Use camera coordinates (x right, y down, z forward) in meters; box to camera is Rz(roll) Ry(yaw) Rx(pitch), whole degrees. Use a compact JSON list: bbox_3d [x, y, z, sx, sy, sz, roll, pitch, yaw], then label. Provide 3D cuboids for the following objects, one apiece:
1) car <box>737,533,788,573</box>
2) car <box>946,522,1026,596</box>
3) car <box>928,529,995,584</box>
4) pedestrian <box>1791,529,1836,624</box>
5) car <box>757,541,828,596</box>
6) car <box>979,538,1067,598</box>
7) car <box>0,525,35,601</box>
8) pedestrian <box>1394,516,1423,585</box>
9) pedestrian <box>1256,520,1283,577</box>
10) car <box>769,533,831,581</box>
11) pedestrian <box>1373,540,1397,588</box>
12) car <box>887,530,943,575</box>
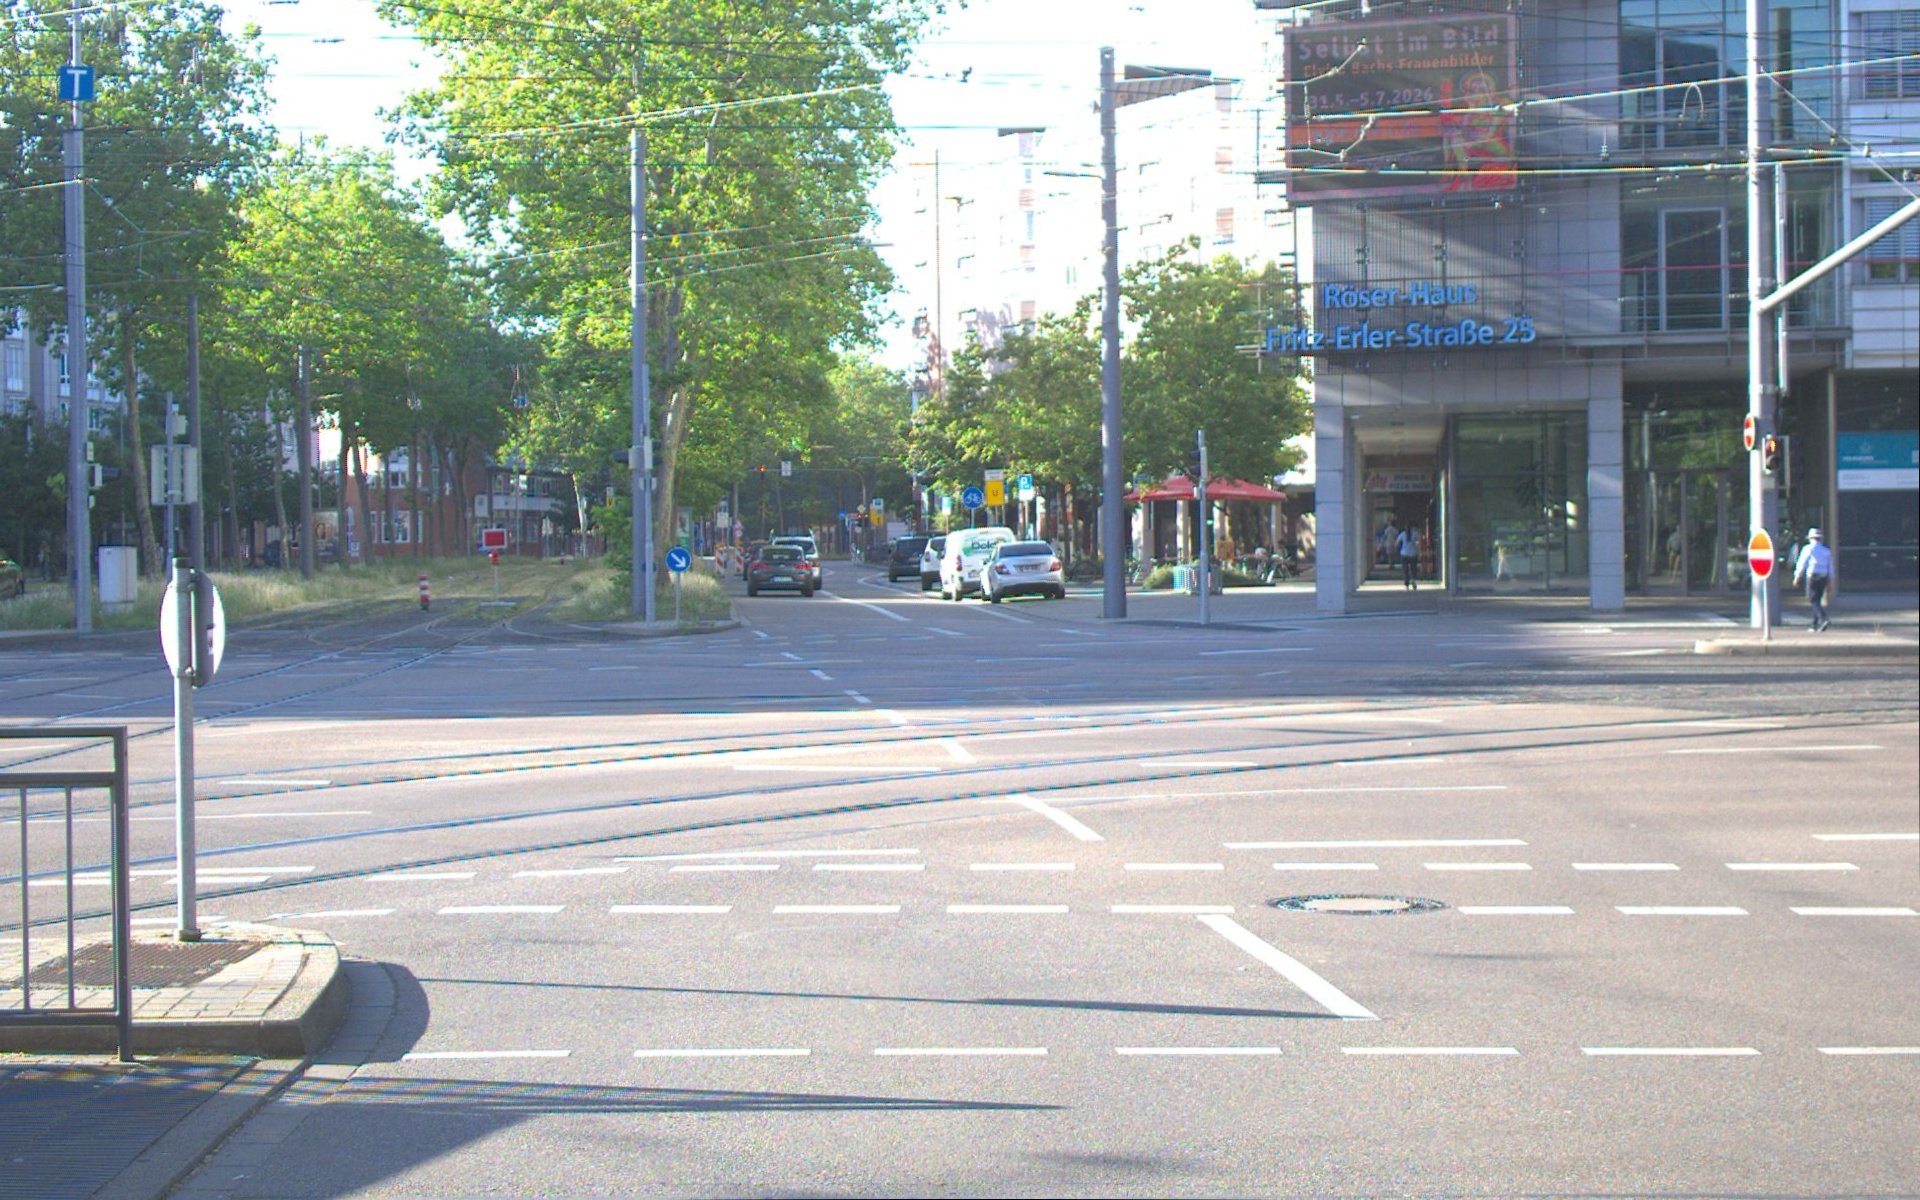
[{"bbox_3d":[-7.312,-1.750,127.489,1.797,1.437,4.000,1,1,-2],"label":"car"},{"bbox_3d":[0.648,-1.079,89.562,1.993,1.853,4.000,-1,1,-1],"label":"car"},{"bbox_3d":[0.035,-1.353,105.208,1.993,1.612,4.000,-1,1,0],"label":"car"},{"bbox_3d":[13.521,-0.375,54.493,0.612,1.502,0.579,-1,1,7],"label":"pedestrian"},{"bbox_3d":[-4.633,-0.891,95.416,1.797,1.437,4.000,-1,1,-1],"label":"car"},{"bbox_3d":[1.492,-0.781,82.767,1.993,1.371,4.000,-1,1,-1],"label":"car"},{"bbox_3d":[-21.665,-0.796,74.915,1.993,1.634,4.000,-1,1,-1],"label":"car"},{"bbox_3d":[9.872,-1.090,75.717,0.612,1.502,0.579,-1,1,7],"label":"pedestrian"},{"bbox_3d":[9.449,-1.571,104.933,0.744,1.708,0.612,-1,1,-1],"label":"pedestrian"},{"bbox_3d":[-5.000,-1.359,107.724,1.797,1.437,4.000,-1,1,-1],"label":"car"},{"bbox_3d":[15.155,-1.284,122.622,0.744,1.708,0.612,-1,1,-1],"label":"pedestrian"},{"bbox_3d":[-1.642,-1.763,126.657,1.993,1.612,4.000,-1,1,0],"label":"car"}]
